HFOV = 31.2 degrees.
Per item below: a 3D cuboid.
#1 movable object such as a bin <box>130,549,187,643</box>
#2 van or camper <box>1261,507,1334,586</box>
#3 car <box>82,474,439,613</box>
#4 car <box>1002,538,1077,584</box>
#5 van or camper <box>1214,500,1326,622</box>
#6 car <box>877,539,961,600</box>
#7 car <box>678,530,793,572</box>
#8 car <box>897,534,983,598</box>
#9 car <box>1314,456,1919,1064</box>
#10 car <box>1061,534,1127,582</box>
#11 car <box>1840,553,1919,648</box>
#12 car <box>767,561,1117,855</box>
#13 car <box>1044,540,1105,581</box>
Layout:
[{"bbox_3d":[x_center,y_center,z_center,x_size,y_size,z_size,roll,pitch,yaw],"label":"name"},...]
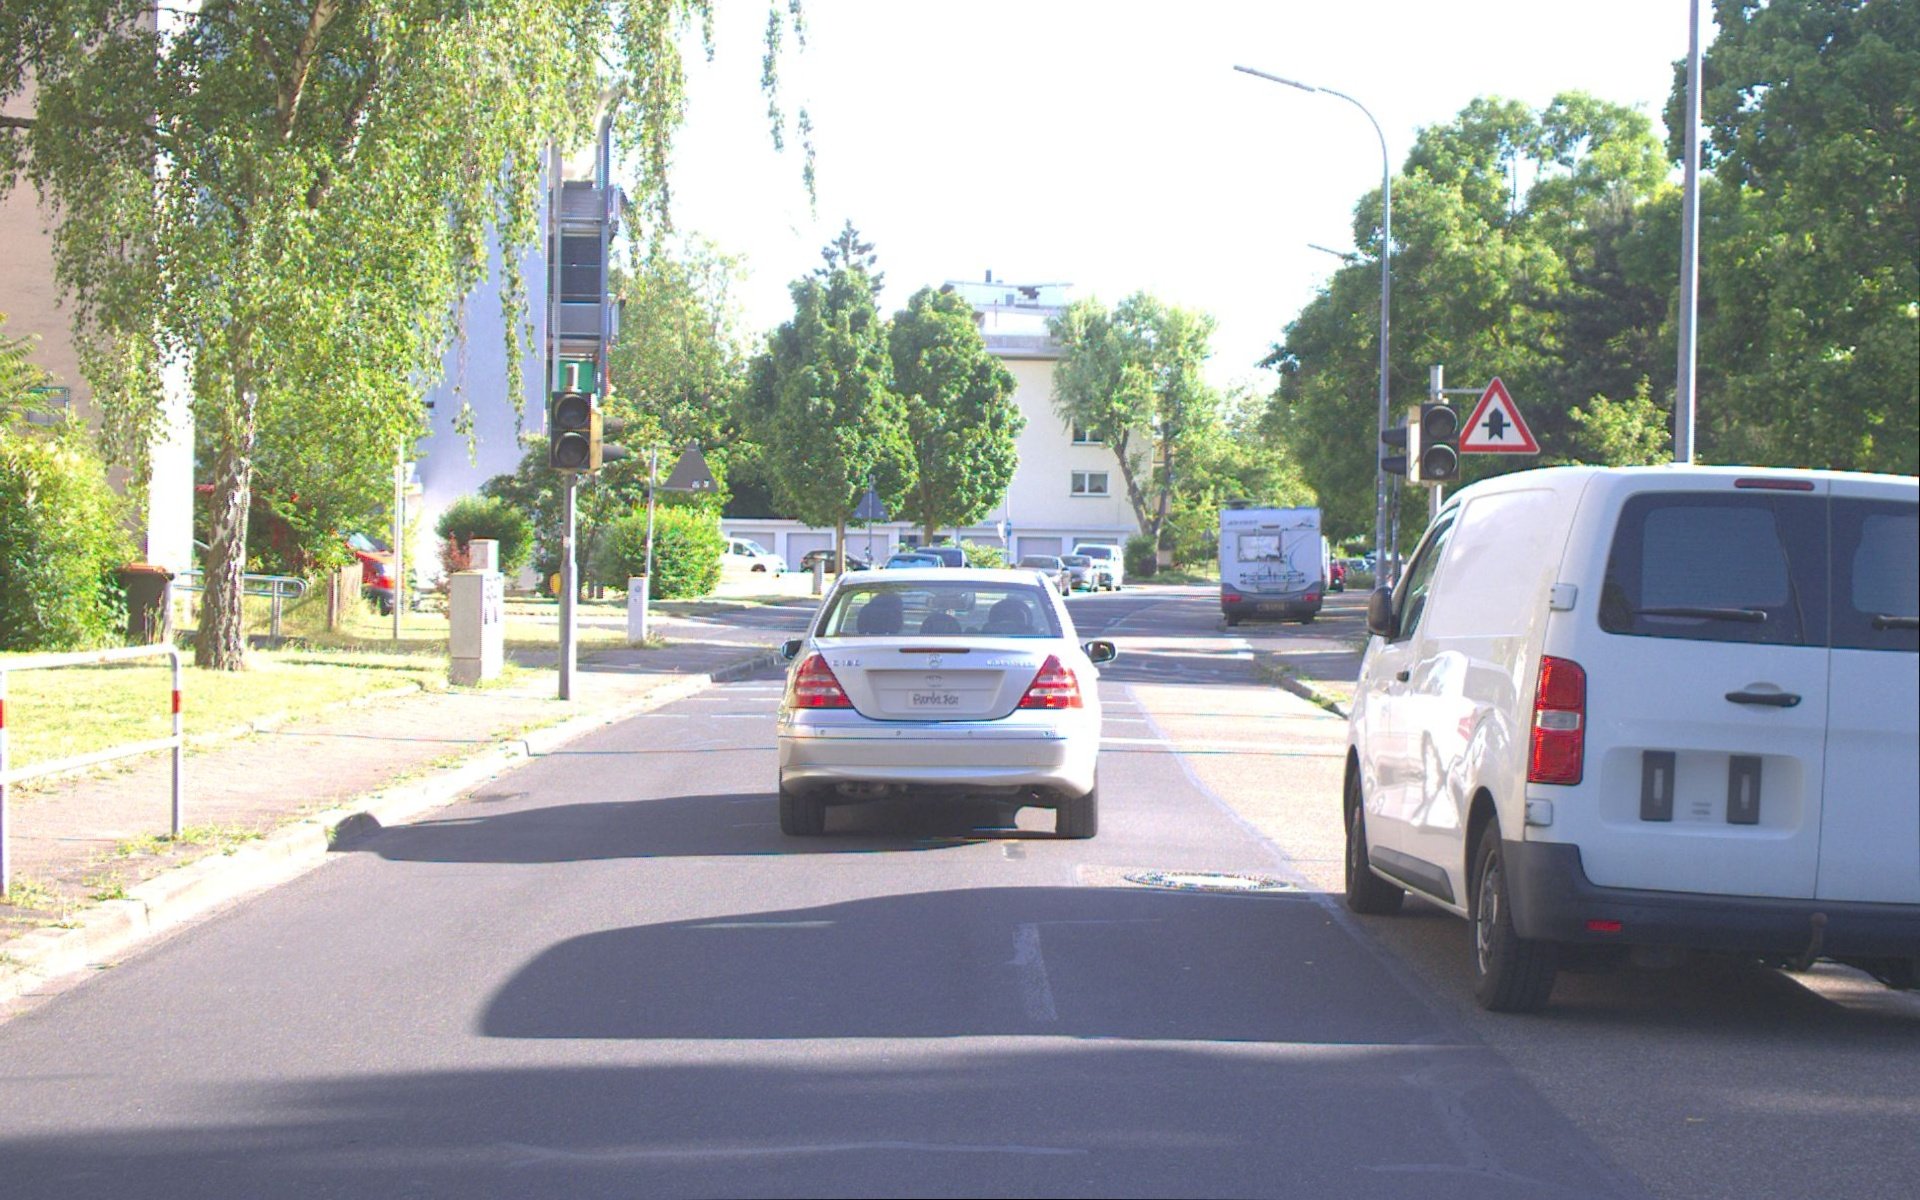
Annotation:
[{"bbox_3d":[-9.118,-0.046,39.114,0.563,1.050,0.557,1,1,-20],"label":"movable object such as a bin"},{"bbox_3d":[12.624,-2.007,128.286,2.497,2.835,6.849,1,1,7],"label":"van or camper"},{"bbox_3d":[-12.514,-1.040,61.771,5.905,2.420,2.213,0,2,3],"label":"car"},{"bbox_3d":[2.863,-1.414,123.037,2.035,1.487,5.255,4,1,8],"label":"car"},{"bbox_3d":[7.044,-0.913,78.505,2.352,2.587,6.425,-2,1,5],"label":"van or camper"},{"bbox_3d":[-1.021,-0.795,88.157,1.647,1.461,4.330,2,1,6],"label":"car"},{"bbox_3d":[-10.886,-2.384,167.127,5.109,1.944,2.235,1,1,16],"label":"car"},{"bbox_3d":[-0.520,-0.949,94.447,1.914,1.598,4.812,4,1,4],"label":"car"},{"bbox_3d":[2.637,0.471,13.258,1.915,1.865,4.866,2,1,-1],"label":"car"},{"bbox_3d":[5.560,-1.721,142.161,2.015,1.879,5.189,3,1,9],"label":"car"},{"bbox_3d":[17.056,0.013,58.915,3.686,1.572,1.827,1,1,11],"label":"car"},{"bbox_3d":[-0.094,0.521,18.895,1.733,1.429,3.438,1,1,0],"label":"car"},{"bbox_3d":[4.539,-1.542,135.749,1.834,1.513,4.220,3,1,9],"label":"car"}]
